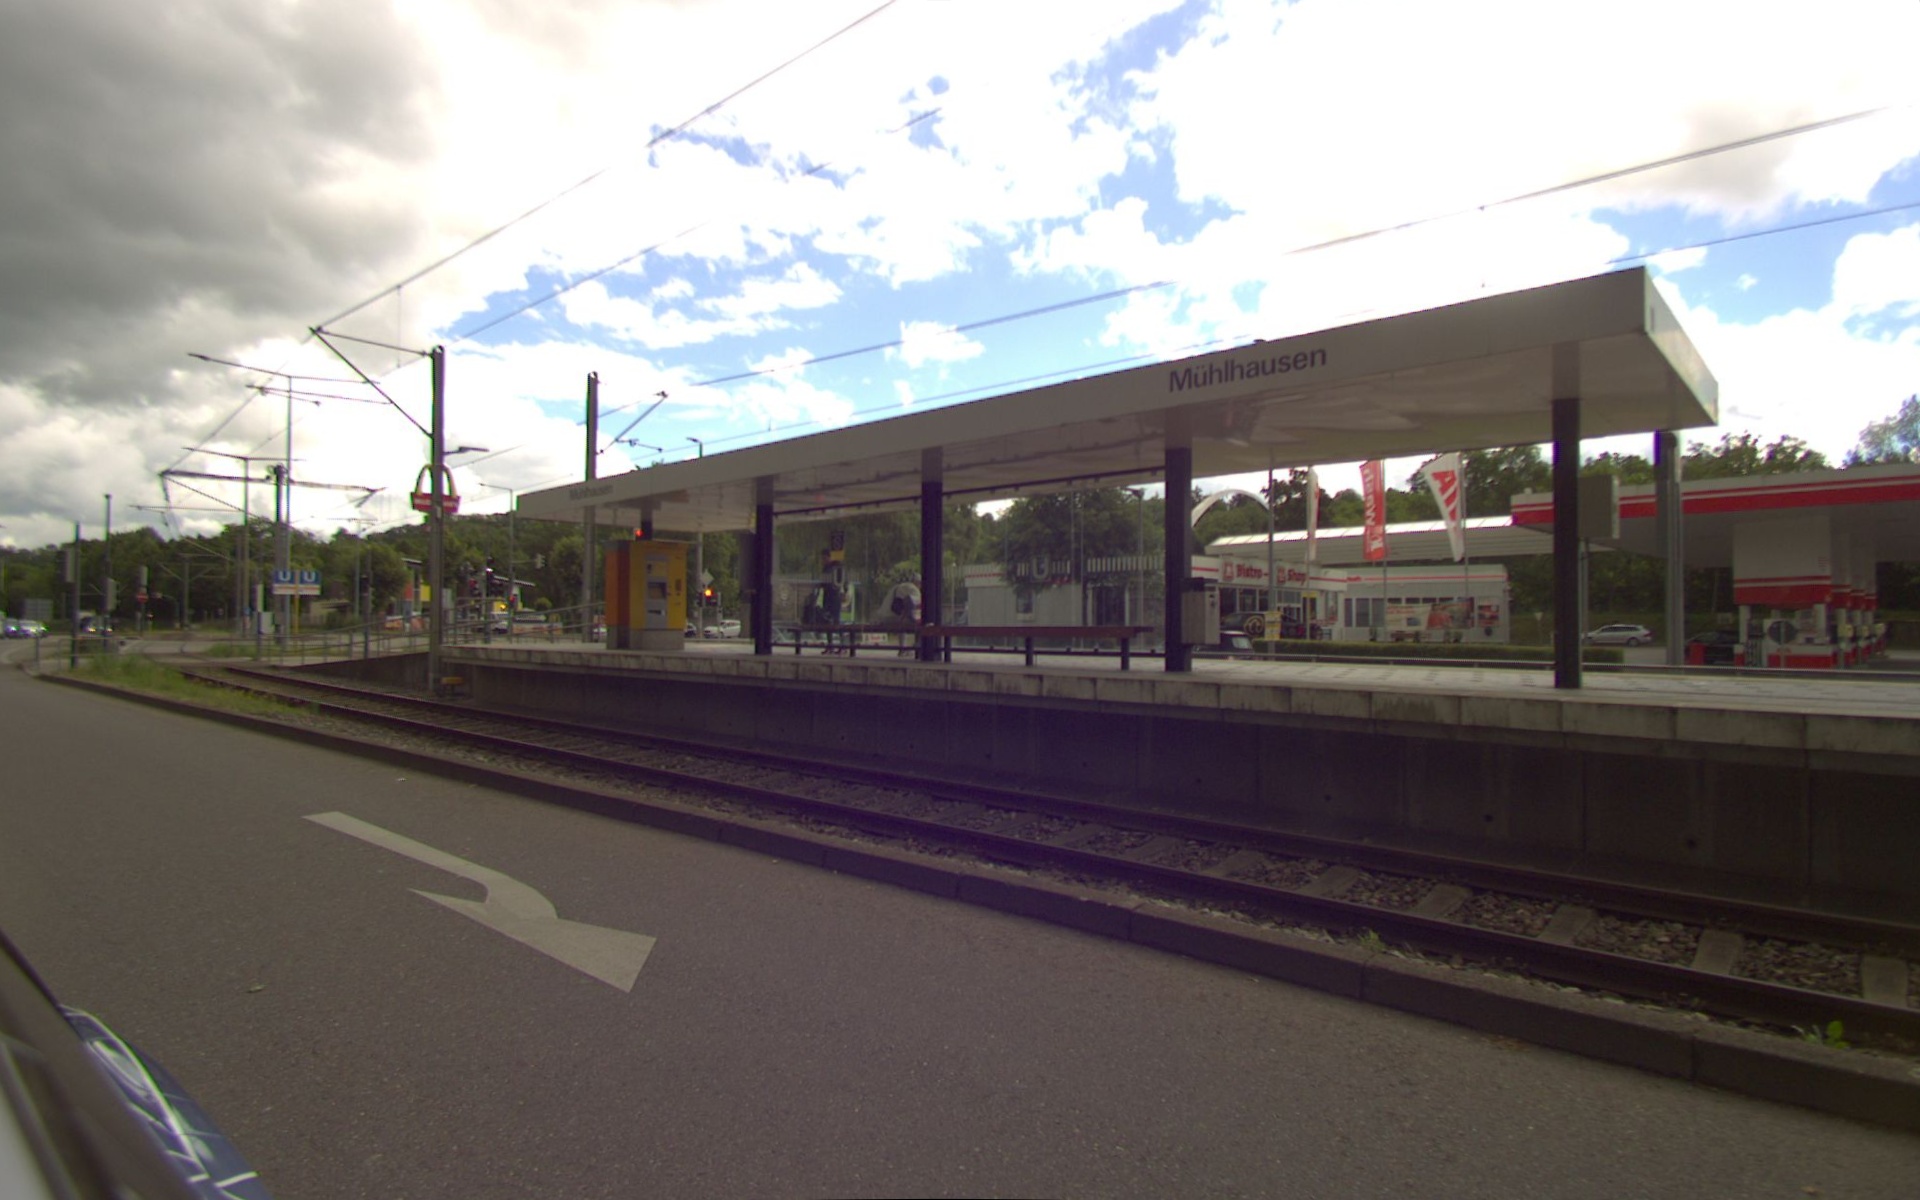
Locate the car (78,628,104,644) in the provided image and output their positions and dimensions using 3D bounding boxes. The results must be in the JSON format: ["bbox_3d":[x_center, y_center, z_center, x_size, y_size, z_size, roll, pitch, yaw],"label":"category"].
[{"bbox_3d":[-88.800,3.672,103.422,1.937,1.564,4.006,3,-3,-40],"label":"car"}]

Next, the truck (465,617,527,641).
[{"bbox_3d":[-40.675,2.537,88.675,6.195,1.920,2.565,-1,-3,41],"label":"truck"}]

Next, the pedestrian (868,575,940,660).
[{"bbox_3d":[-0.812,0.260,14.703,0.728,1.198,0.760,-1,-2,45],"label":"pedestrian"}]

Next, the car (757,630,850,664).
[{"bbox_3d":[-6.496,1.908,41.799,4.029,1.360,1.596,-1,-2,42],"label":"car"}]

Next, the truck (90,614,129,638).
[{"bbox_3d":[-132.747,4.096,157.923,8.697,3.587,3.390,-1,-3,42],"label":"truck"}]

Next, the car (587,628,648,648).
[{"bbox_3d":[-26.130,2.895,77.364,1.788,1.443,4.375,-1,-2,28],"label":"car"}]

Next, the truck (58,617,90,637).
[{"bbox_3d":[-137.970,4.162,157.555,8.308,3.055,2.675,-1,-3,43],"label":"truck"}]

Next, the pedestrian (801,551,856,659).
[{"bbox_3d":[-2.057,0.090,15.829,0.572,1.633,0.578,-1,-3,41],"label":"pedestrian"}]

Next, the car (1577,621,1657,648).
[{"bbox_3d":[44.383,2.354,68.449,4.431,1.719,1.894,0,-3,33],"label":"car"}]

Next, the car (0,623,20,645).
[{"bbox_3d":[-70.862,2.466,74.431,1.967,1.547,4.009,3,-3,-36],"label":"car"}]

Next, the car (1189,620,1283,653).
[{"bbox_3d":[12.000,1.575,44.169,3.636,1.360,1.595,-2,-2,43],"label":"car"}]

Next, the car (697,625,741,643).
[{"bbox_3d":[-21.632,3.073,91.005,1.725,1.566,3.595,-1,-2,37],"label":"car"}]

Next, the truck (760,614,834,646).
[{"bbox_3d":[-13.206,2.429,82.186,2.386,2.513,5.743,-1,-2,42],"label":"truck"}]

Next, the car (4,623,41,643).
[{"bbox_3d":[-75.229,2.664,81.270,1.802,1.564,4.008,3,-3,-38],"label":"car"}]
